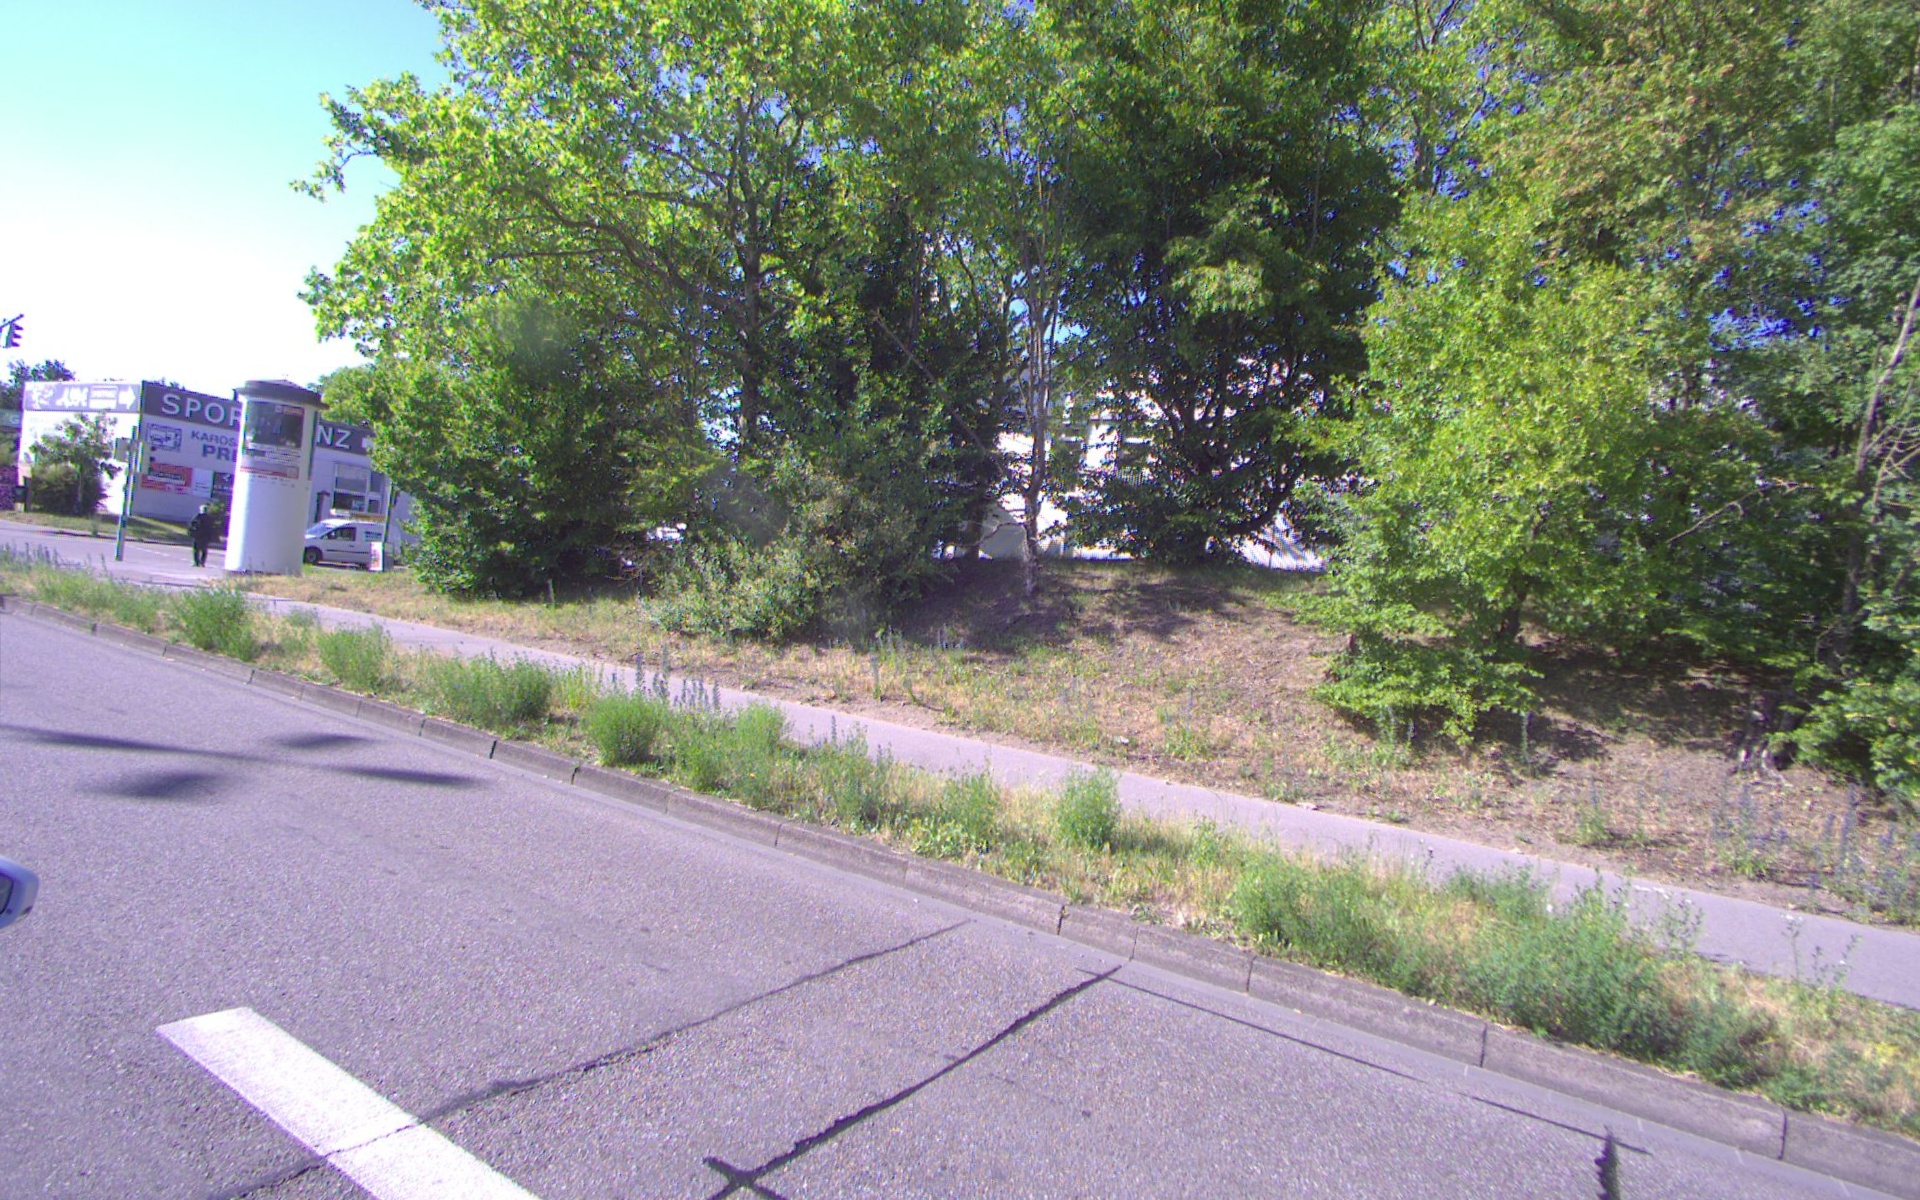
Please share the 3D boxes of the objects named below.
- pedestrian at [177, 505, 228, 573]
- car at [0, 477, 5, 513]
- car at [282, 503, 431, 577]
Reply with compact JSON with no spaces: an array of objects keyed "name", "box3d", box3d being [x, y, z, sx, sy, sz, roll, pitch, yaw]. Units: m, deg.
[{"name":"pedestrian","box3d":[-21.157,-1.711,28.096,0.841,1.743,0.822,7,0,39]},{"name":"car","box3d":[-48.291,-5.344,47.686,1.663,1.726,4.003,7,-1,16]},{"name":"car","box3d":[-23.391,-2.289,39.175,1.965,2.171,4.415,7,-1,28]}]
